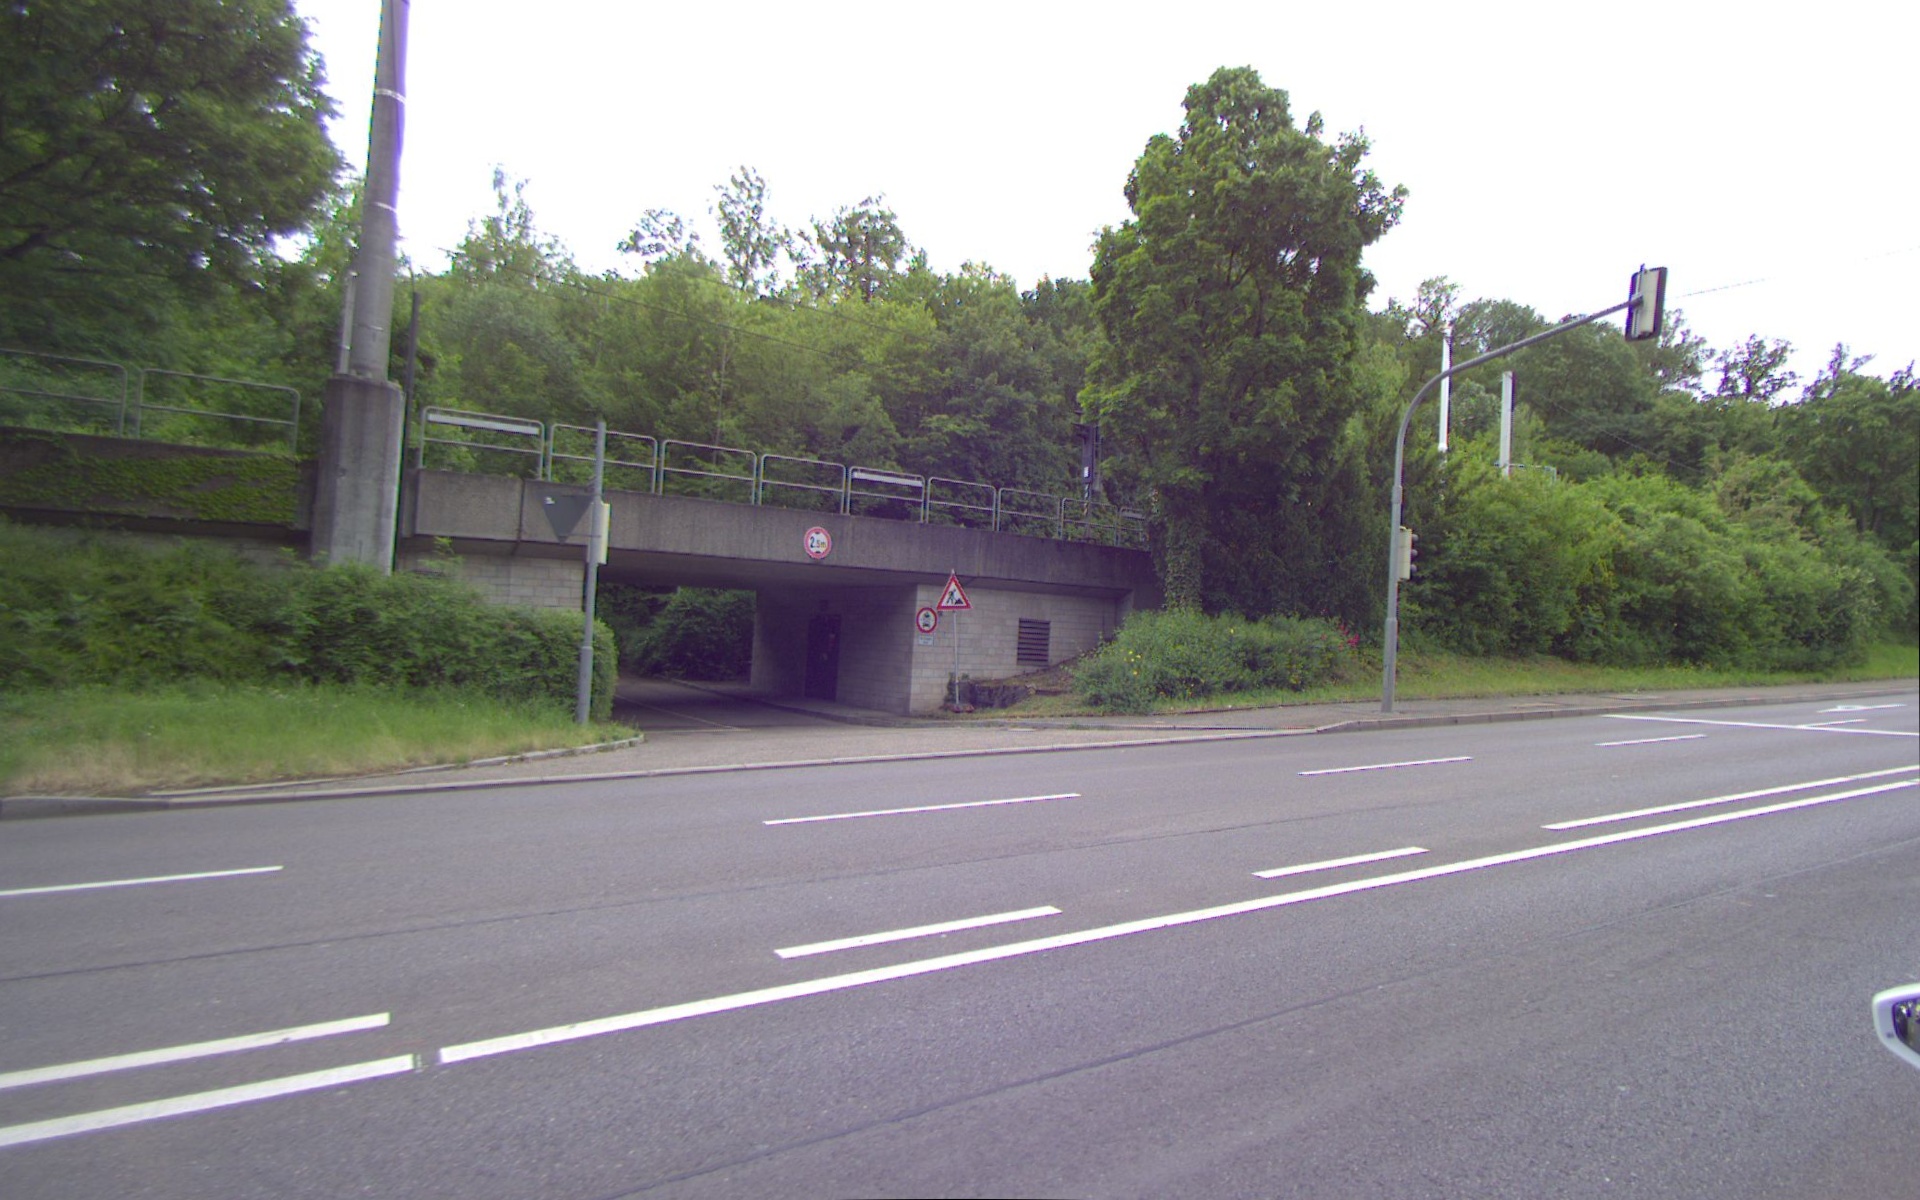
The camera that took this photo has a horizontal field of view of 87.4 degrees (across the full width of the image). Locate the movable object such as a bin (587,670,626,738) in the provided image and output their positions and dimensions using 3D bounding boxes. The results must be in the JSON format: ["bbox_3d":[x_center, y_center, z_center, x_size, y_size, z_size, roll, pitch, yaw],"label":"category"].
[{"bbox_3d":[-5.881,1.721,16.703,0.499,1.077,0.415,2,-2,-35],"label":"movable object such as a bin"}]
